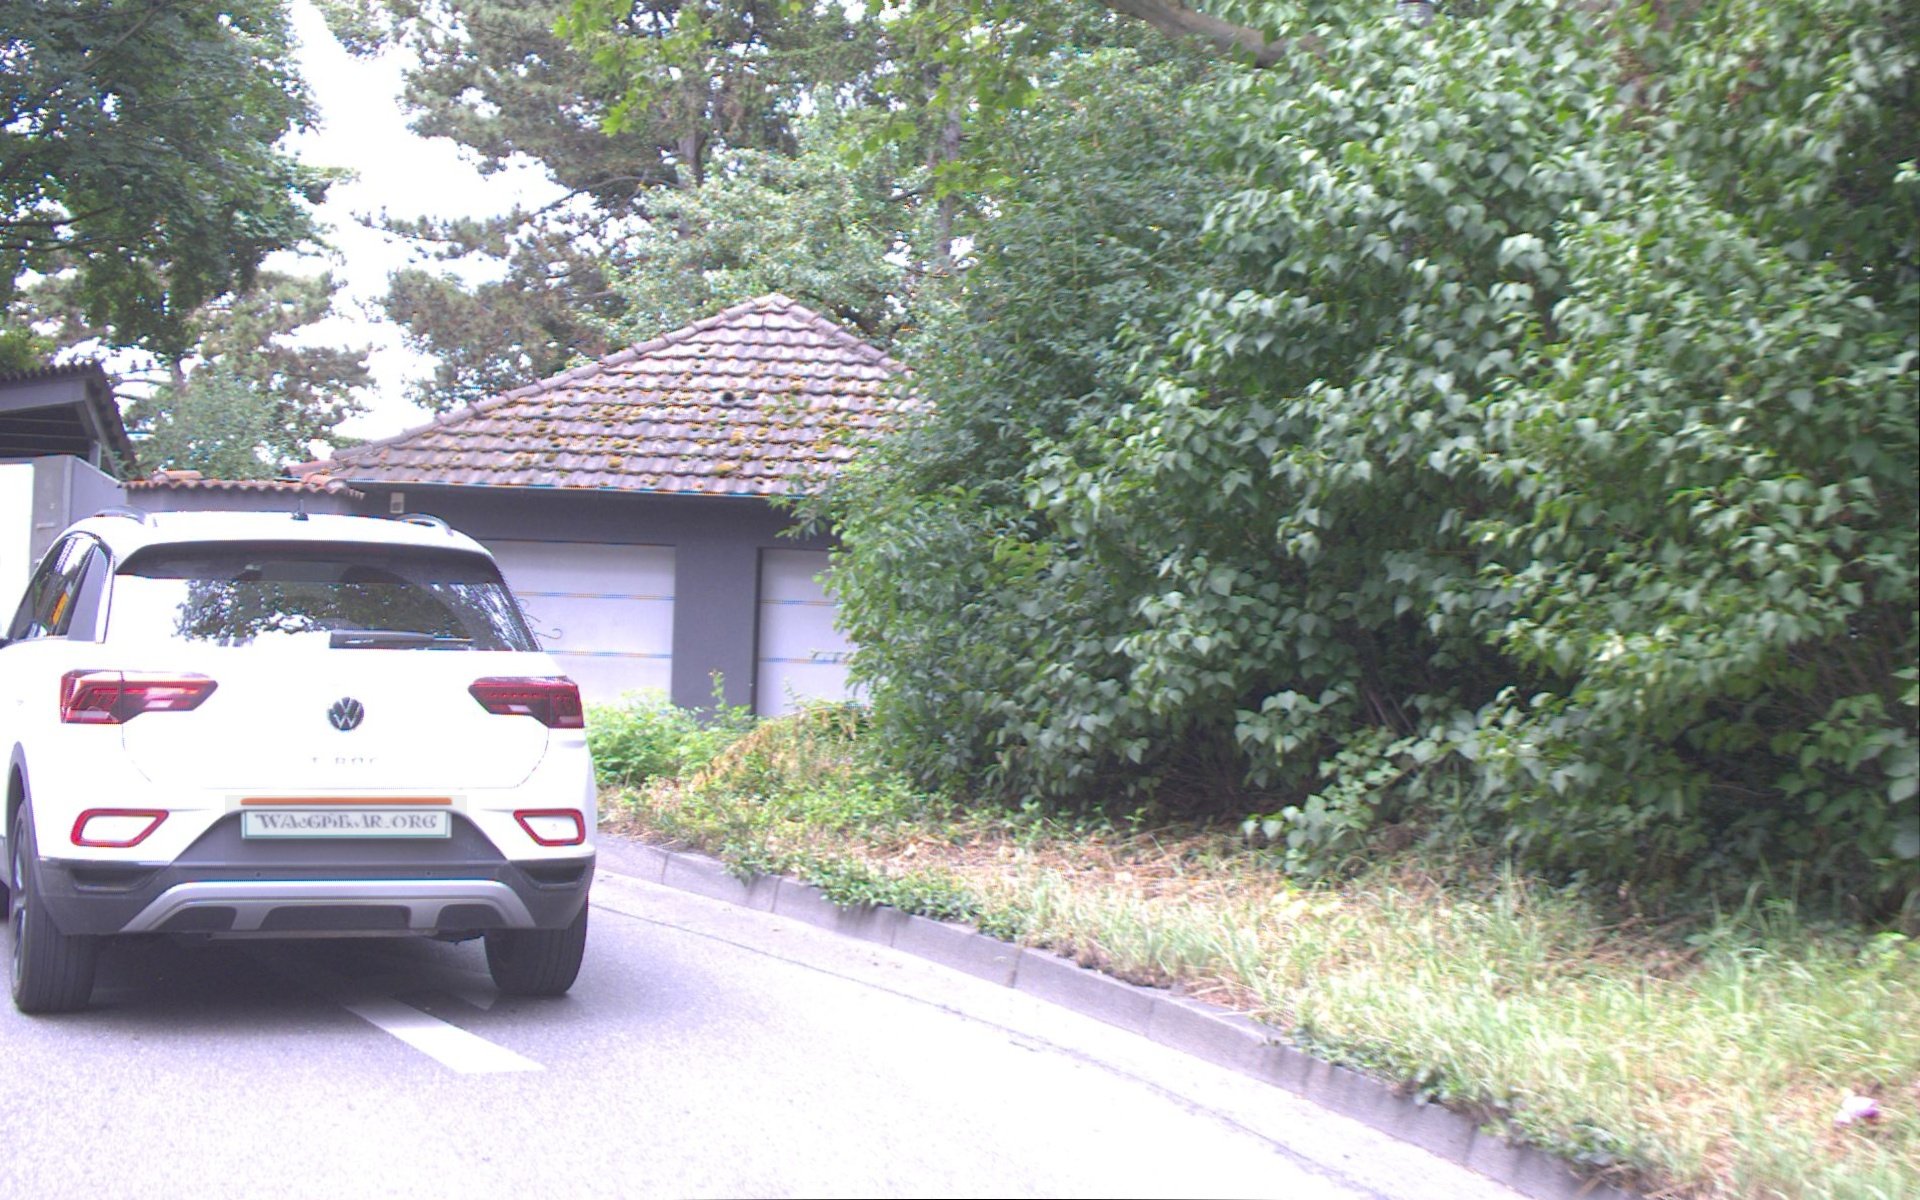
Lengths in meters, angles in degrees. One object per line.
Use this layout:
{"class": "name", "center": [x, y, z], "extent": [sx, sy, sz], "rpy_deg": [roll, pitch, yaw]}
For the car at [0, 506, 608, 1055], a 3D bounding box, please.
{"class": "car", "center": [-2.583, 0.460, 12.103], "extent": [1.754, 1.547, 4.339], "rpy_deg": [0, 2, -18]}
